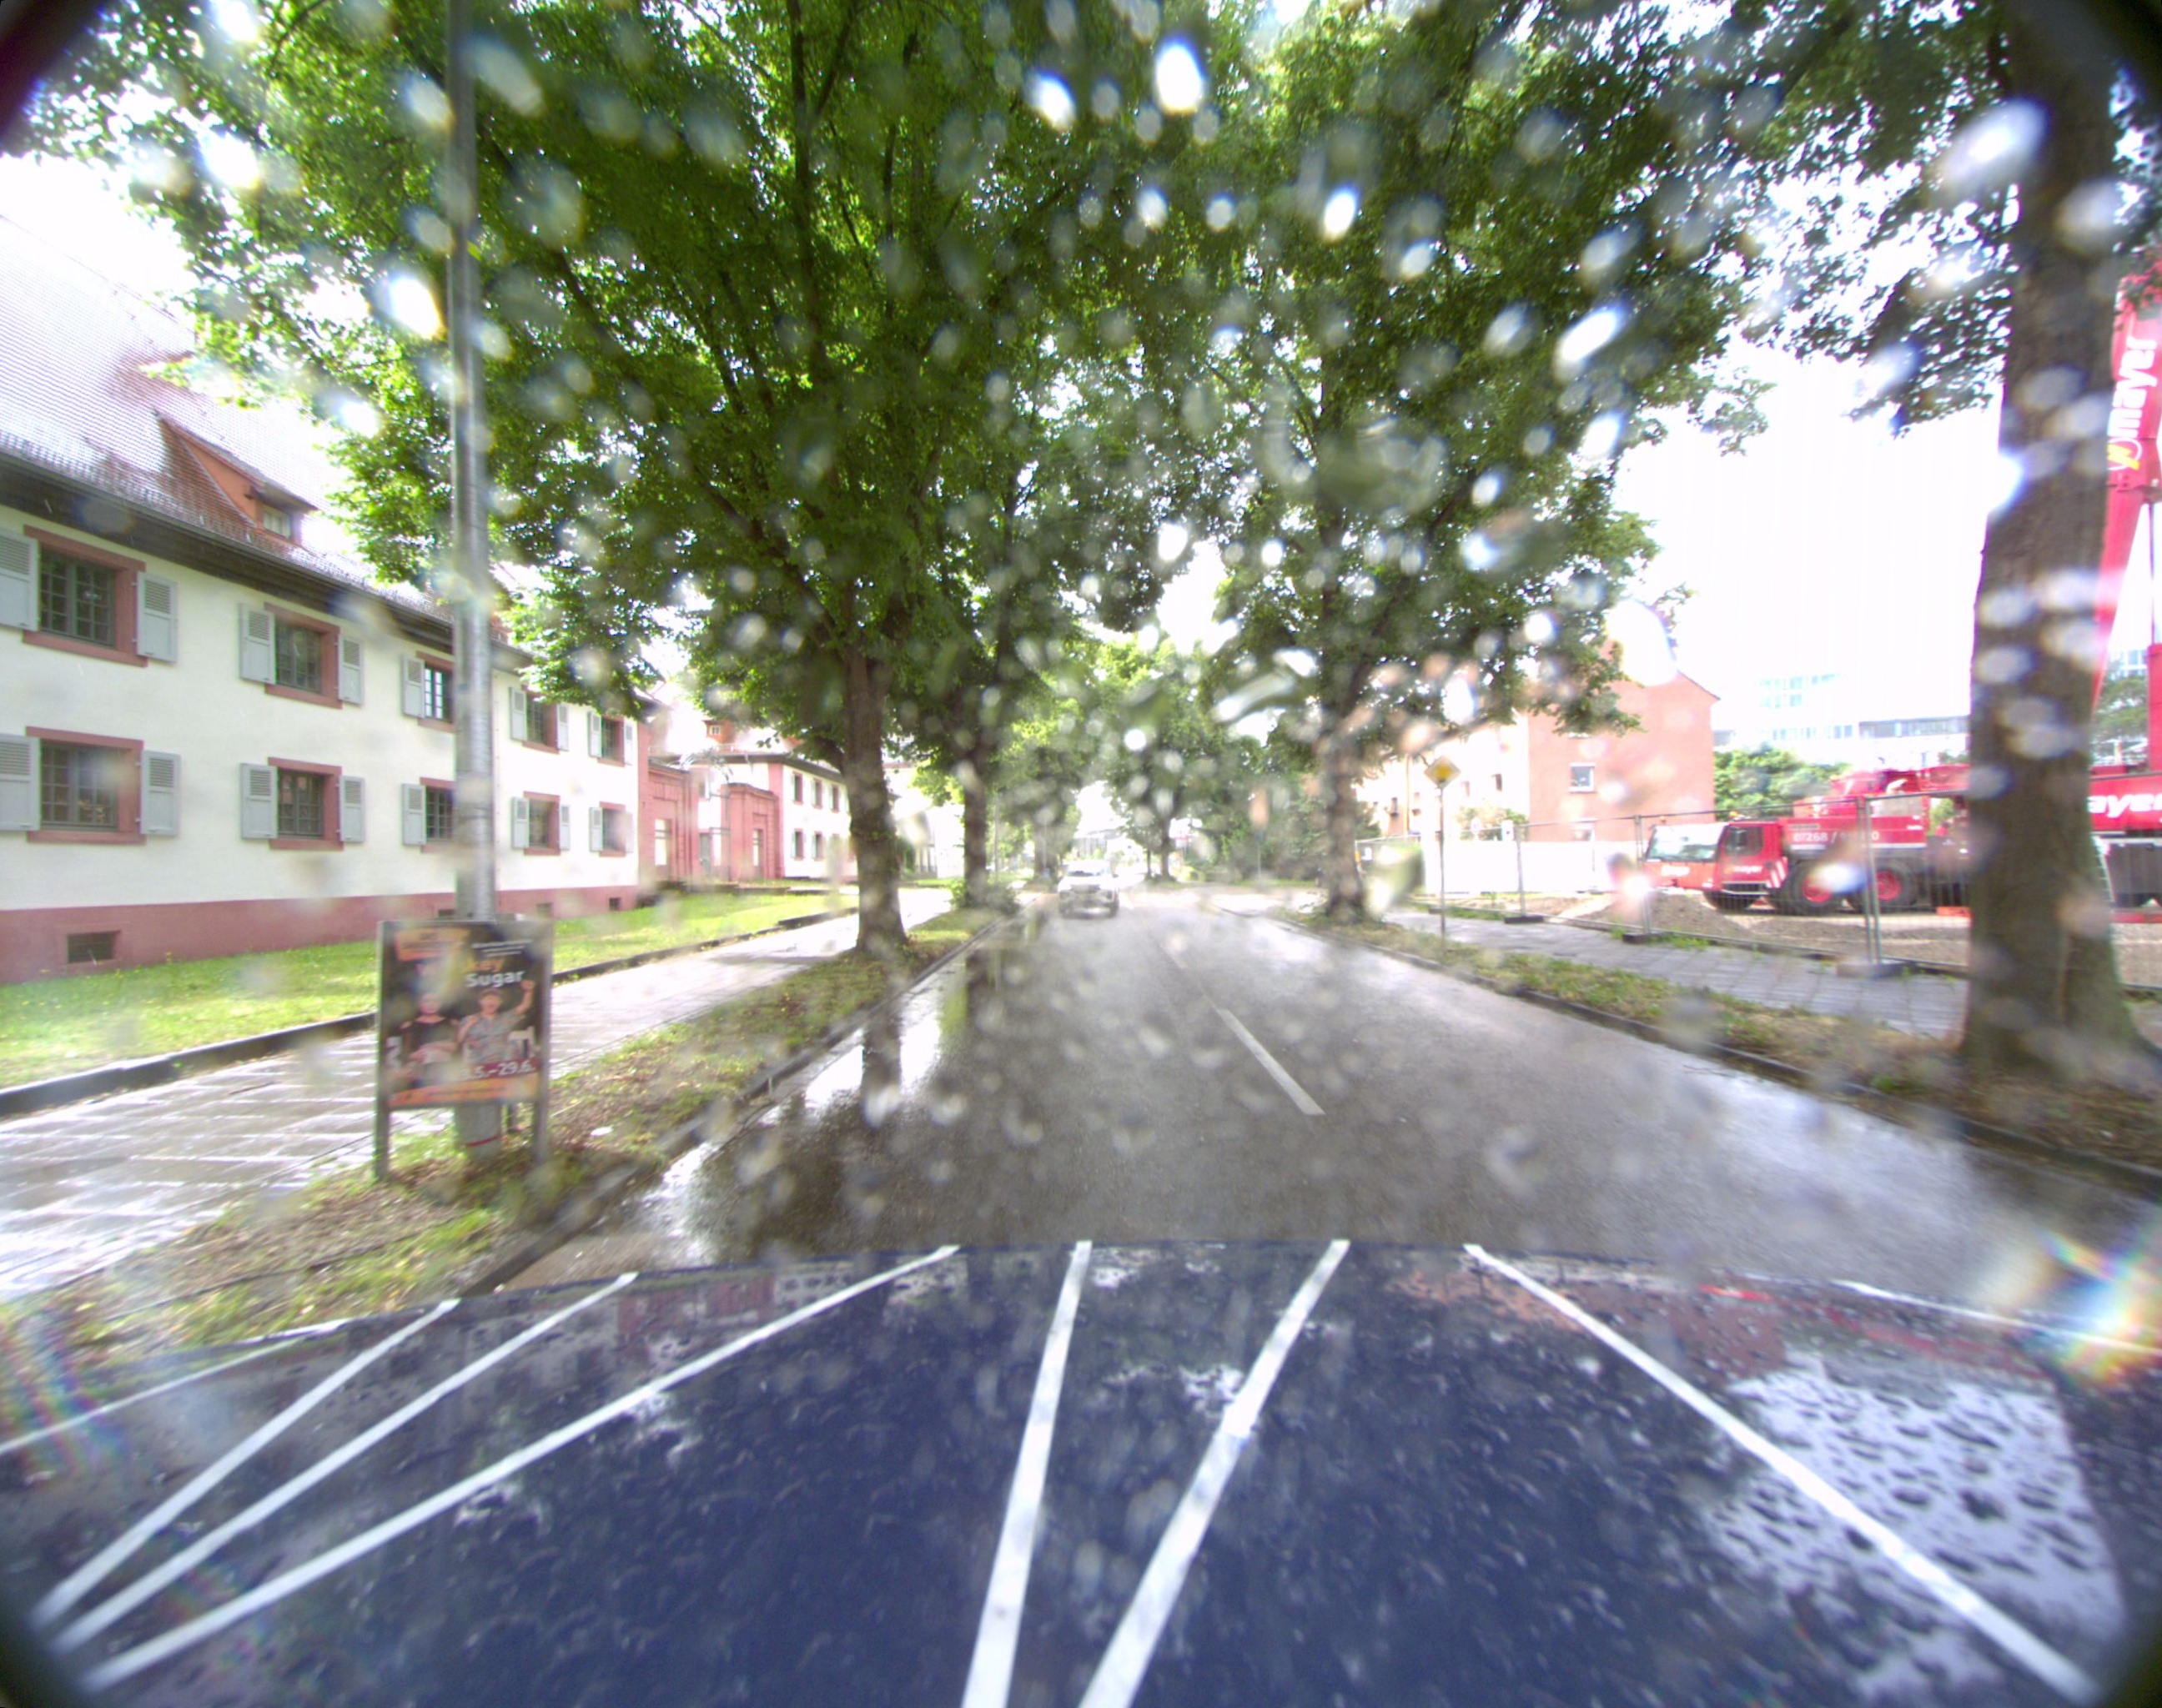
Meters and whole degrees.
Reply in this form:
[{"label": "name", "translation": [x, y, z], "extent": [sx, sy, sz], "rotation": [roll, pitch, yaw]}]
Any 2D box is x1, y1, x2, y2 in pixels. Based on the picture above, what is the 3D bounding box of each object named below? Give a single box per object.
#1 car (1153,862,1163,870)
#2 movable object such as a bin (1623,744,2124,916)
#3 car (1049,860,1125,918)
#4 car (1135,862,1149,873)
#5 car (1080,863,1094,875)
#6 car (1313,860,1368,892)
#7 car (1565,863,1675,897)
[{"label": "car", "translation": [14.101, 2.255, 140.136], "extent": [1.683, 1.499, 3.795], "rotation": [-1, -1, 4]}, {"label": "movable object such as a bin", "translation": [21.121, -0.544, 20.854], "extent": [9.834, 4.090, 3.367], "rotation": [-1, -1, 3]}, {"label": "car", "translation": [0.257, 0.934, 21.720], "extent": [1.736, 1.524, 3.619], "rotation": [-1, 0, 7]}, {"label": "car", "translation": [9.441, 2.092, 117.109], "extent": [1.891, 1.703, 4.230], "rotation": [0, -1, 1]}, {"label": "car", "translation": [0.879, 2.151, 108.225], "extent": [1.891, 1.703, 4.230], "rotation": [0, -1, 1]}, {"label": "car", "translation": [13.412, 1.091, 39.497], "extent": [1.628, 1.412, 3.870], "rotation": [-2, 1, 2]}, {"label": "car", "translation": [24.380, 1.153, 34.397], "extent": [4.067, 1.405, 1.726], "rotation": [-1, 0, -11]}]
